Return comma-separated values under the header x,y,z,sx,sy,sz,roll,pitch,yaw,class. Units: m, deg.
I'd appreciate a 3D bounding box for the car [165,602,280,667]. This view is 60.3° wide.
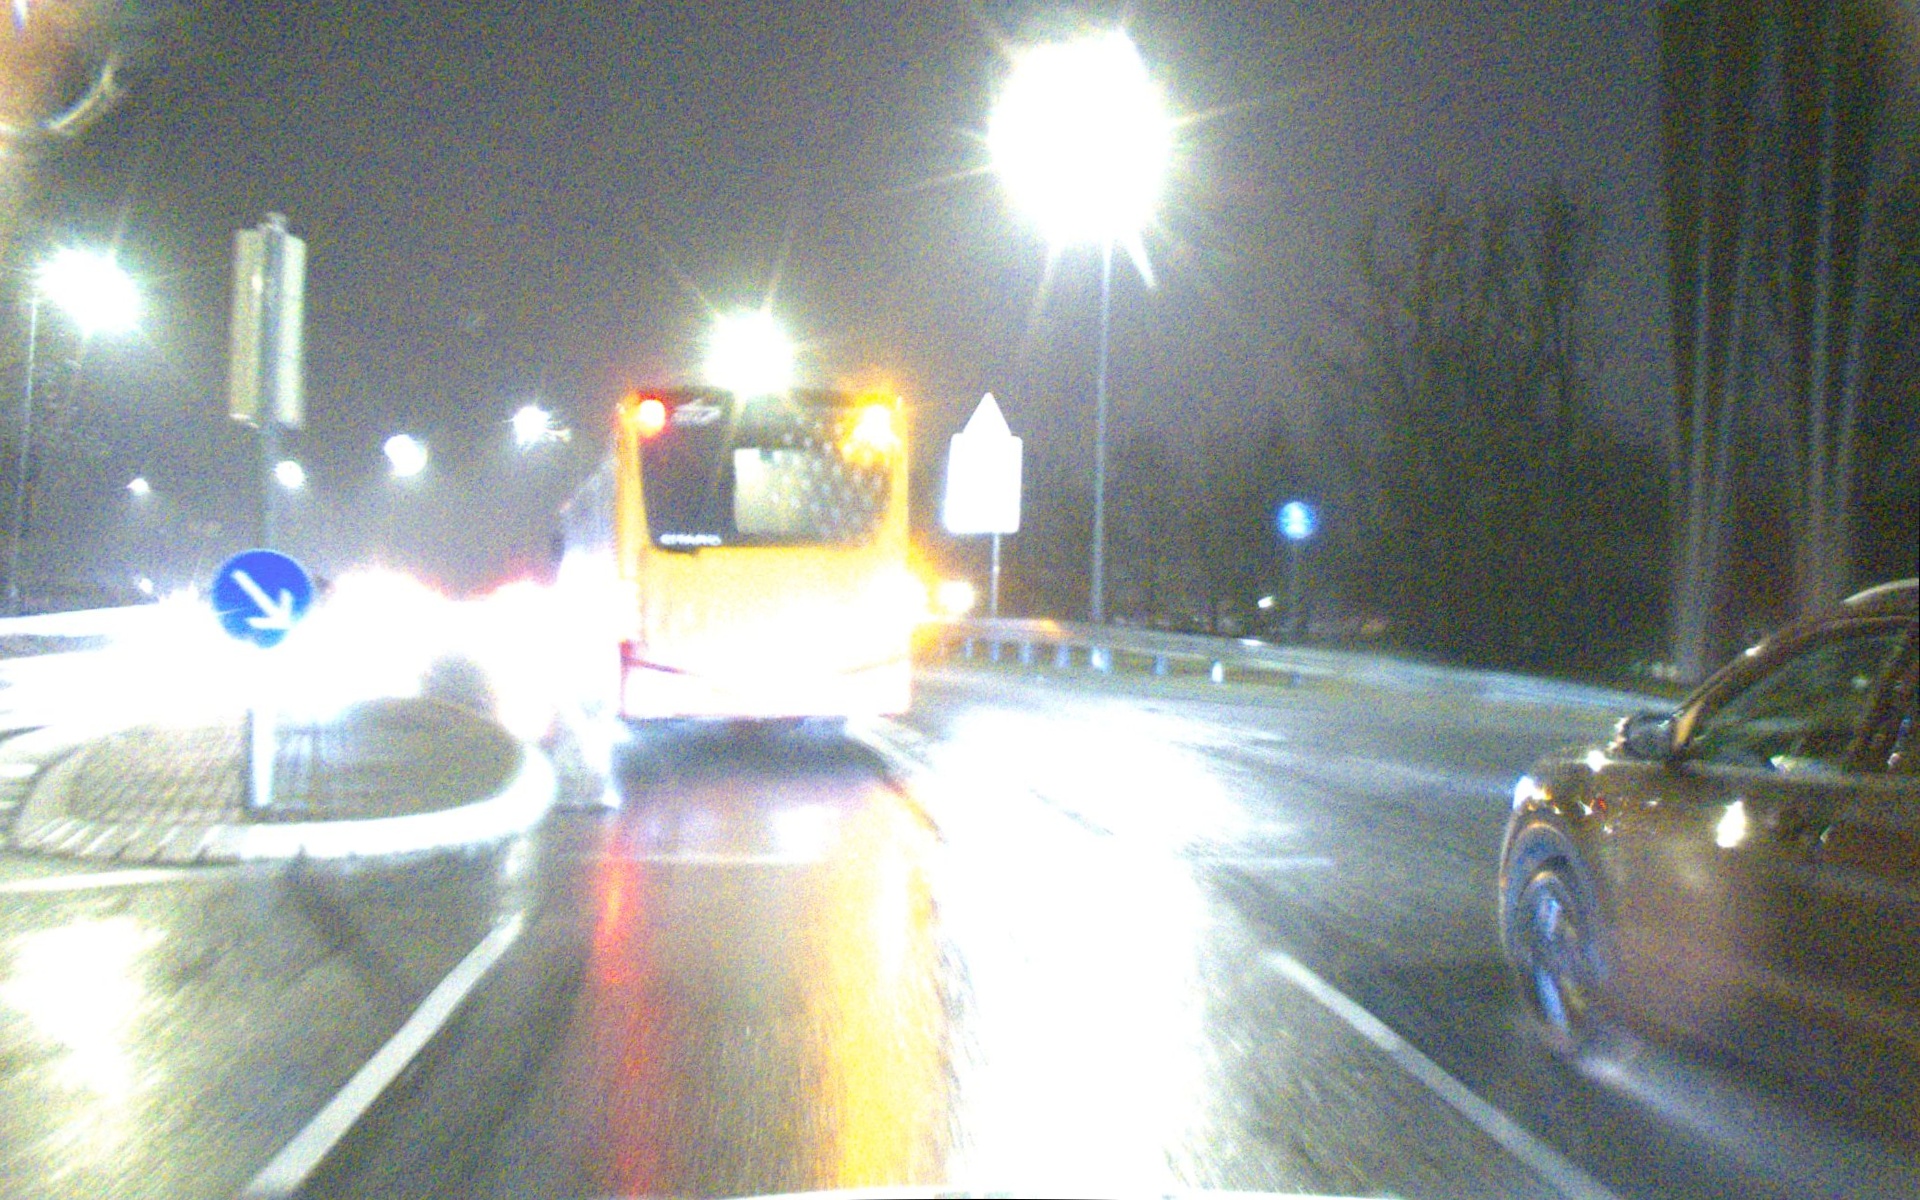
x,y,z,sx,sy,sz,roll,pitch,yaw,class
-18.216,0.837,41.049,1.793,1.474,4.641,2,-1,-15,car

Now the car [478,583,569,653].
x,y,z,sx,sy,sz,roll,pitch,yaw,class
-13.807,0.565,52.147,1.969,2.049,4.313,2,-1,-26,car

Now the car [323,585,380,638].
x,y,z,sx,sy,sz,roll,pitch,yaw,class
-25.173,0.440,68.381,1.967,2.049,4.318,1,0,-23,car

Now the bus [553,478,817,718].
x,y,z,sx,sy,sz,roll,pitch,yaw,class
-4.737,-0.090,26.718,3.194,3.175,8.609,2,1,-16,bus

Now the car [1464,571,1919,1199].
x,y,z,sx,sy,sz,roll,pitch,yaw,class
2.921,0.743,4.338,1.644,1.548,3.955,2,-1,-6,car

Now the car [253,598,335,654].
x,y,z,sx,sy,sz,roll,pitch,yaw,class
-21.499,0.799,53.527,1.849,1.635,4.642,1,0,-15,car

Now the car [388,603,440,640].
x,y,z,sx,sy,sz,roll,pitch,yaw,class
-25.710,0.999,77.825,1.794,1.646,3.966,2,-1,-26,car

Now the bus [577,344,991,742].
x,y,z,sx,sy,sz,roll,pitch,yaw,class
-2.442,-0.681,17.932,3.229,3.102,9.514,1,3,-14,bus
